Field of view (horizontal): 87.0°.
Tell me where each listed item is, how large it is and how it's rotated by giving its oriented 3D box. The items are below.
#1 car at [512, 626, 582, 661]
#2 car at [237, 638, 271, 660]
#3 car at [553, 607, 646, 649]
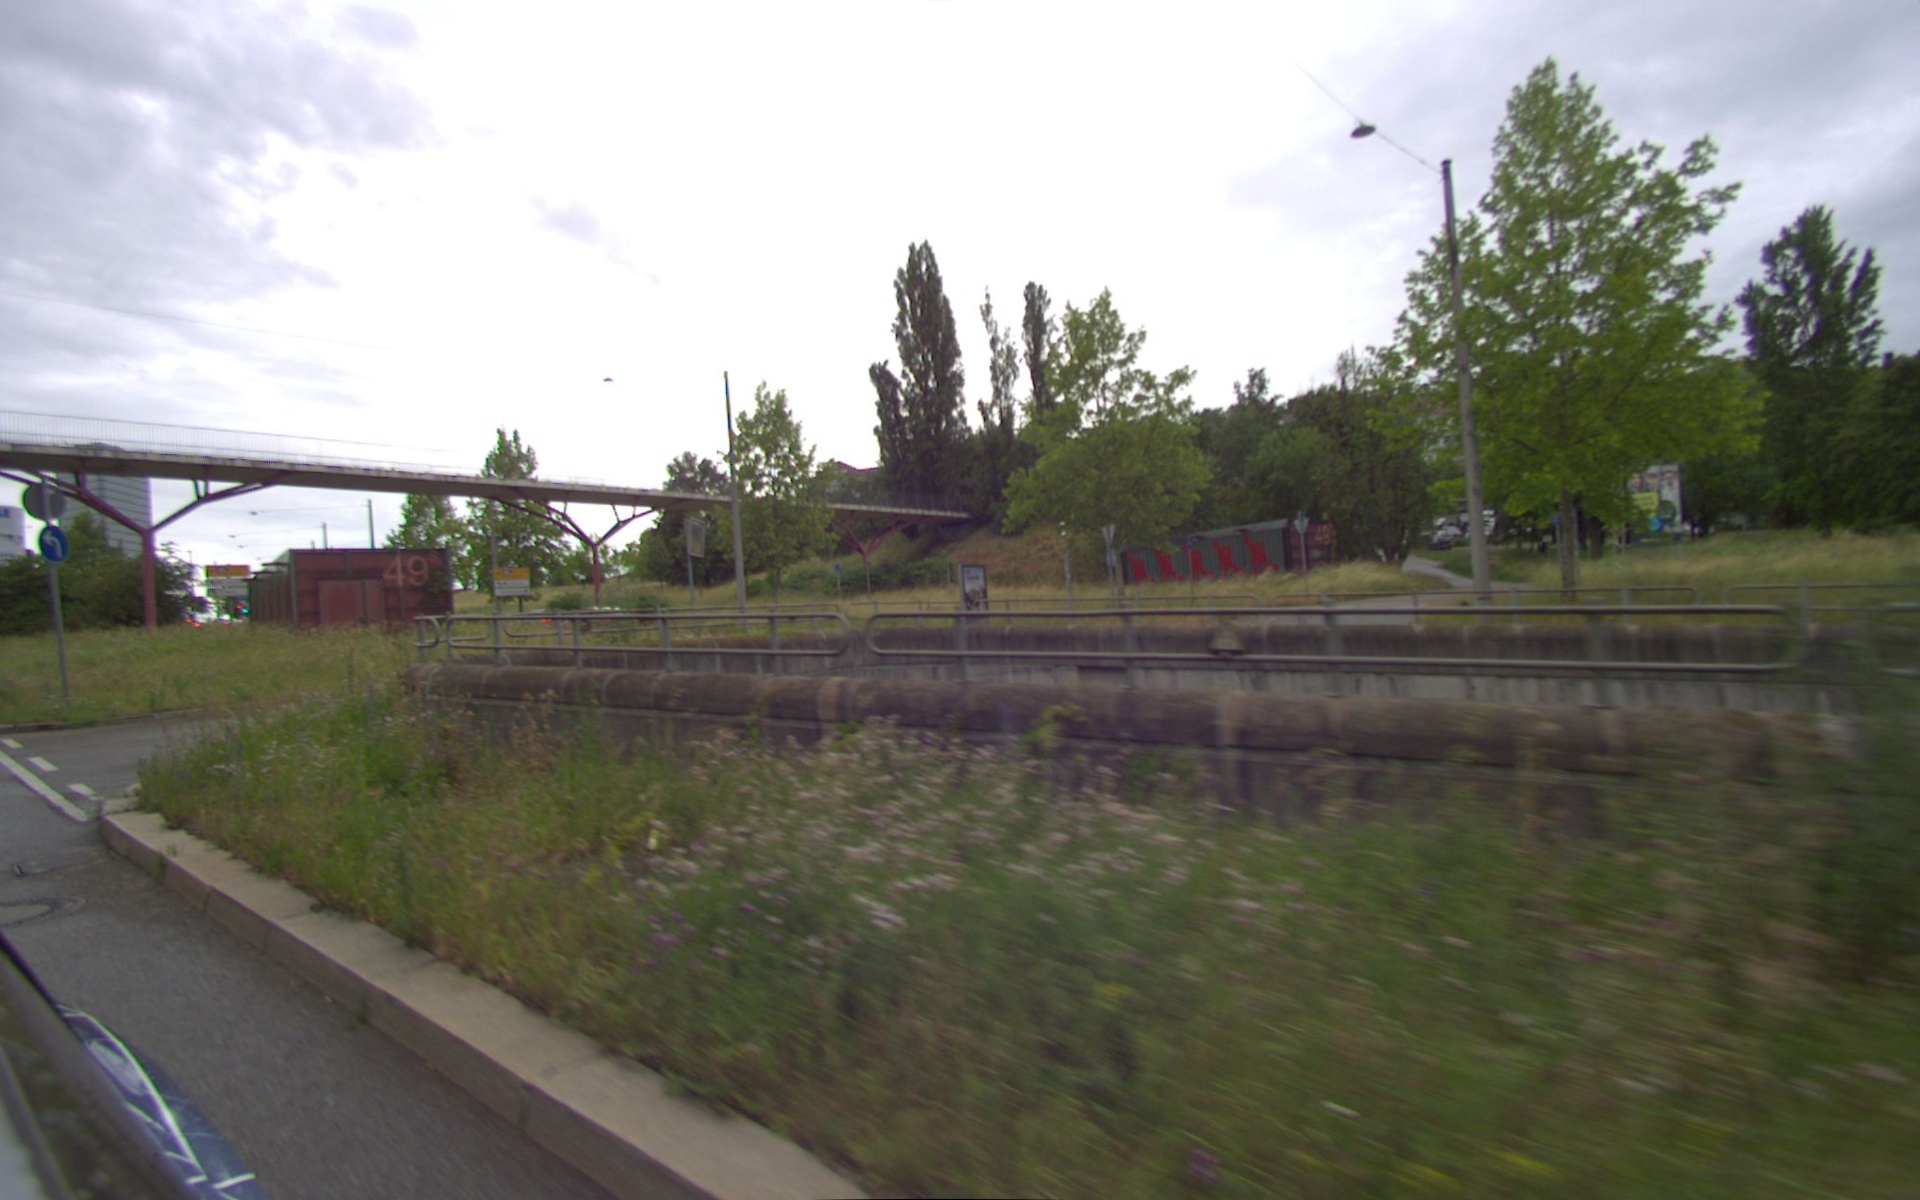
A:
[{"bbox_3d":[-21.244,2.251,52.021,3.787,1.585,1.641,-2,2,39],"label":"car"},{"bbox_3d":[-72.269,4.999,103.570,4.002,2.028,1.972,-2,3,45],"label":"car"},{"bbox_3d":[-14.822,1.164,41.499,4.434,1.539,1.639,-3,0,42],"label":"car"}]
